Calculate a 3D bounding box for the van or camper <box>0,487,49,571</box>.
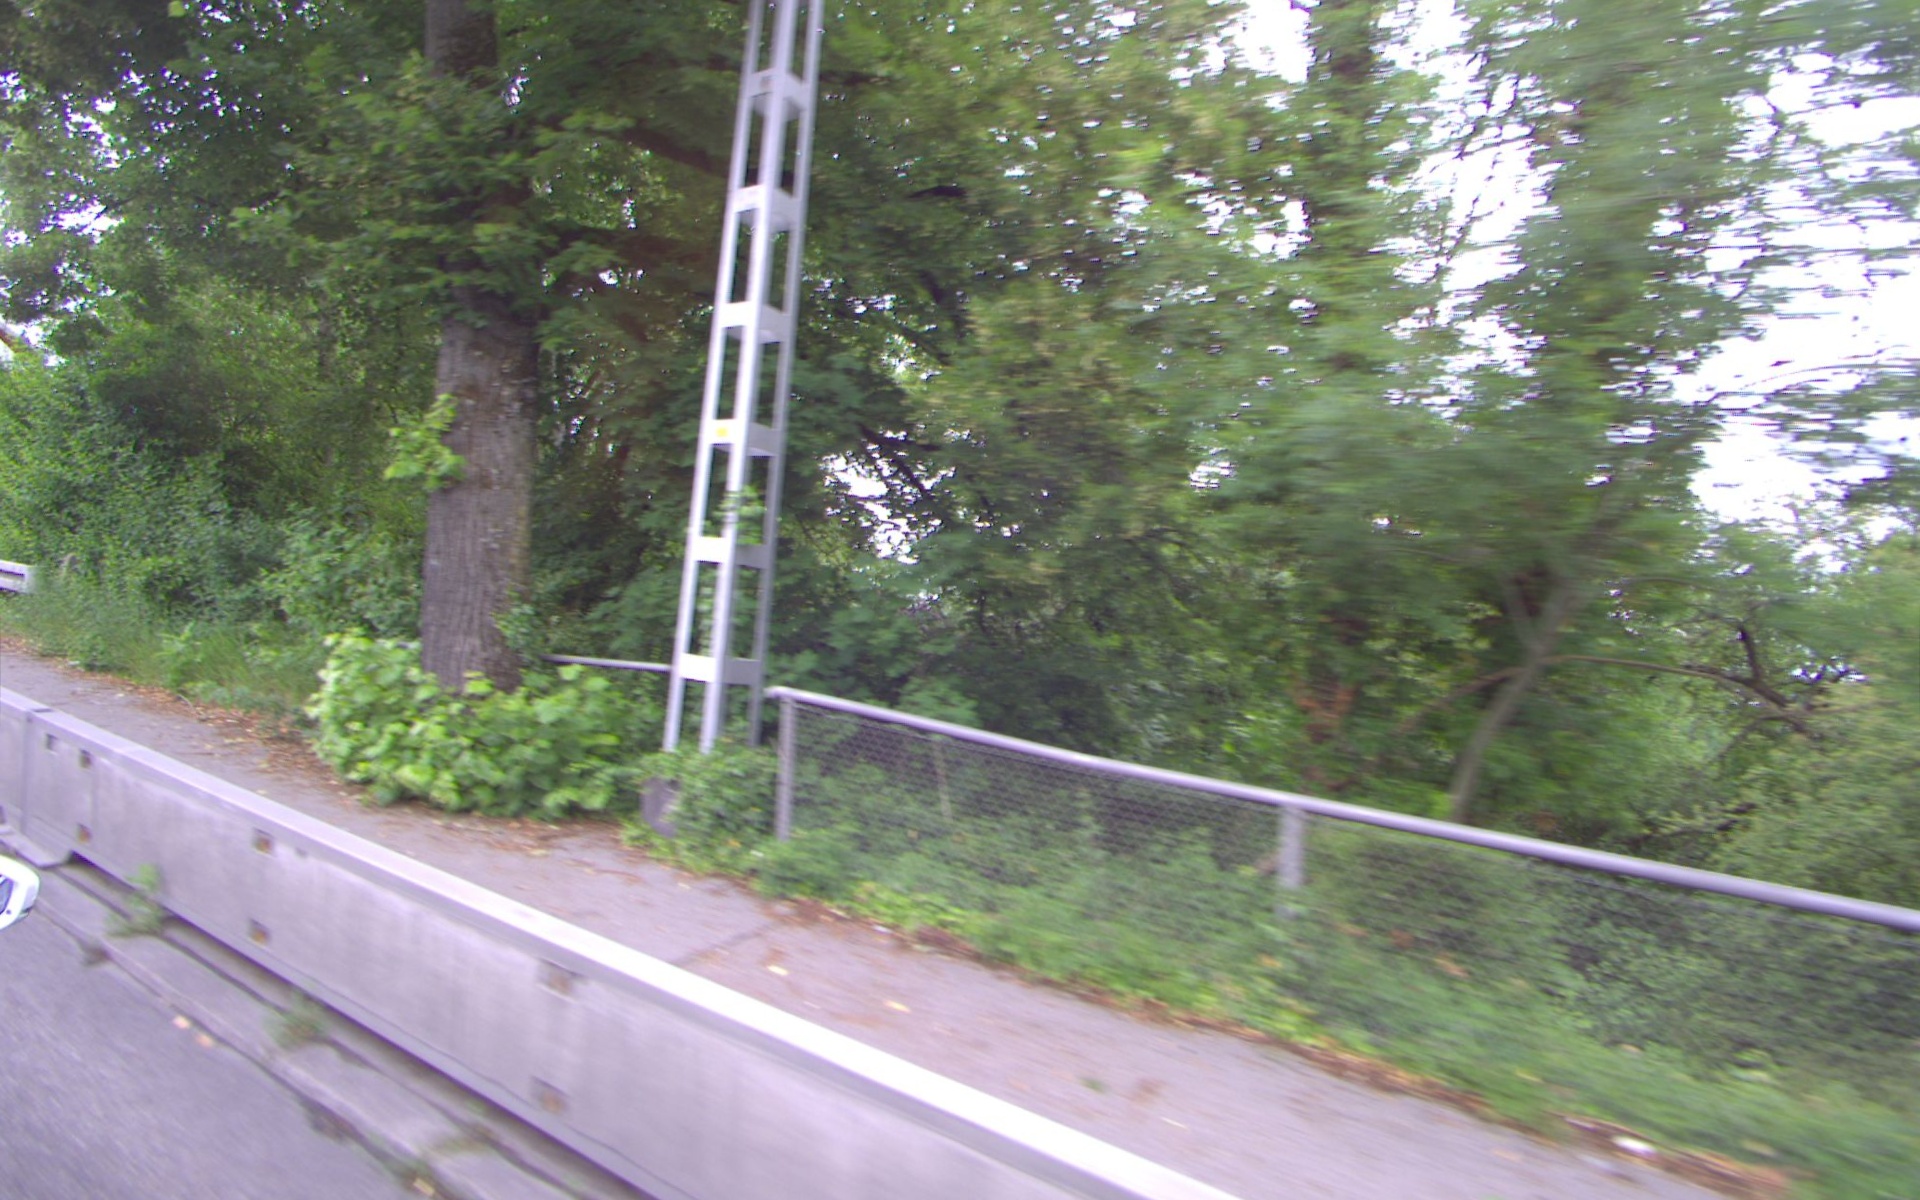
[{"bbox_3d":[-30.387,-2.387,31.432,6.094,2.360,2.211,7,2,42],"label":"van or camper"}]
